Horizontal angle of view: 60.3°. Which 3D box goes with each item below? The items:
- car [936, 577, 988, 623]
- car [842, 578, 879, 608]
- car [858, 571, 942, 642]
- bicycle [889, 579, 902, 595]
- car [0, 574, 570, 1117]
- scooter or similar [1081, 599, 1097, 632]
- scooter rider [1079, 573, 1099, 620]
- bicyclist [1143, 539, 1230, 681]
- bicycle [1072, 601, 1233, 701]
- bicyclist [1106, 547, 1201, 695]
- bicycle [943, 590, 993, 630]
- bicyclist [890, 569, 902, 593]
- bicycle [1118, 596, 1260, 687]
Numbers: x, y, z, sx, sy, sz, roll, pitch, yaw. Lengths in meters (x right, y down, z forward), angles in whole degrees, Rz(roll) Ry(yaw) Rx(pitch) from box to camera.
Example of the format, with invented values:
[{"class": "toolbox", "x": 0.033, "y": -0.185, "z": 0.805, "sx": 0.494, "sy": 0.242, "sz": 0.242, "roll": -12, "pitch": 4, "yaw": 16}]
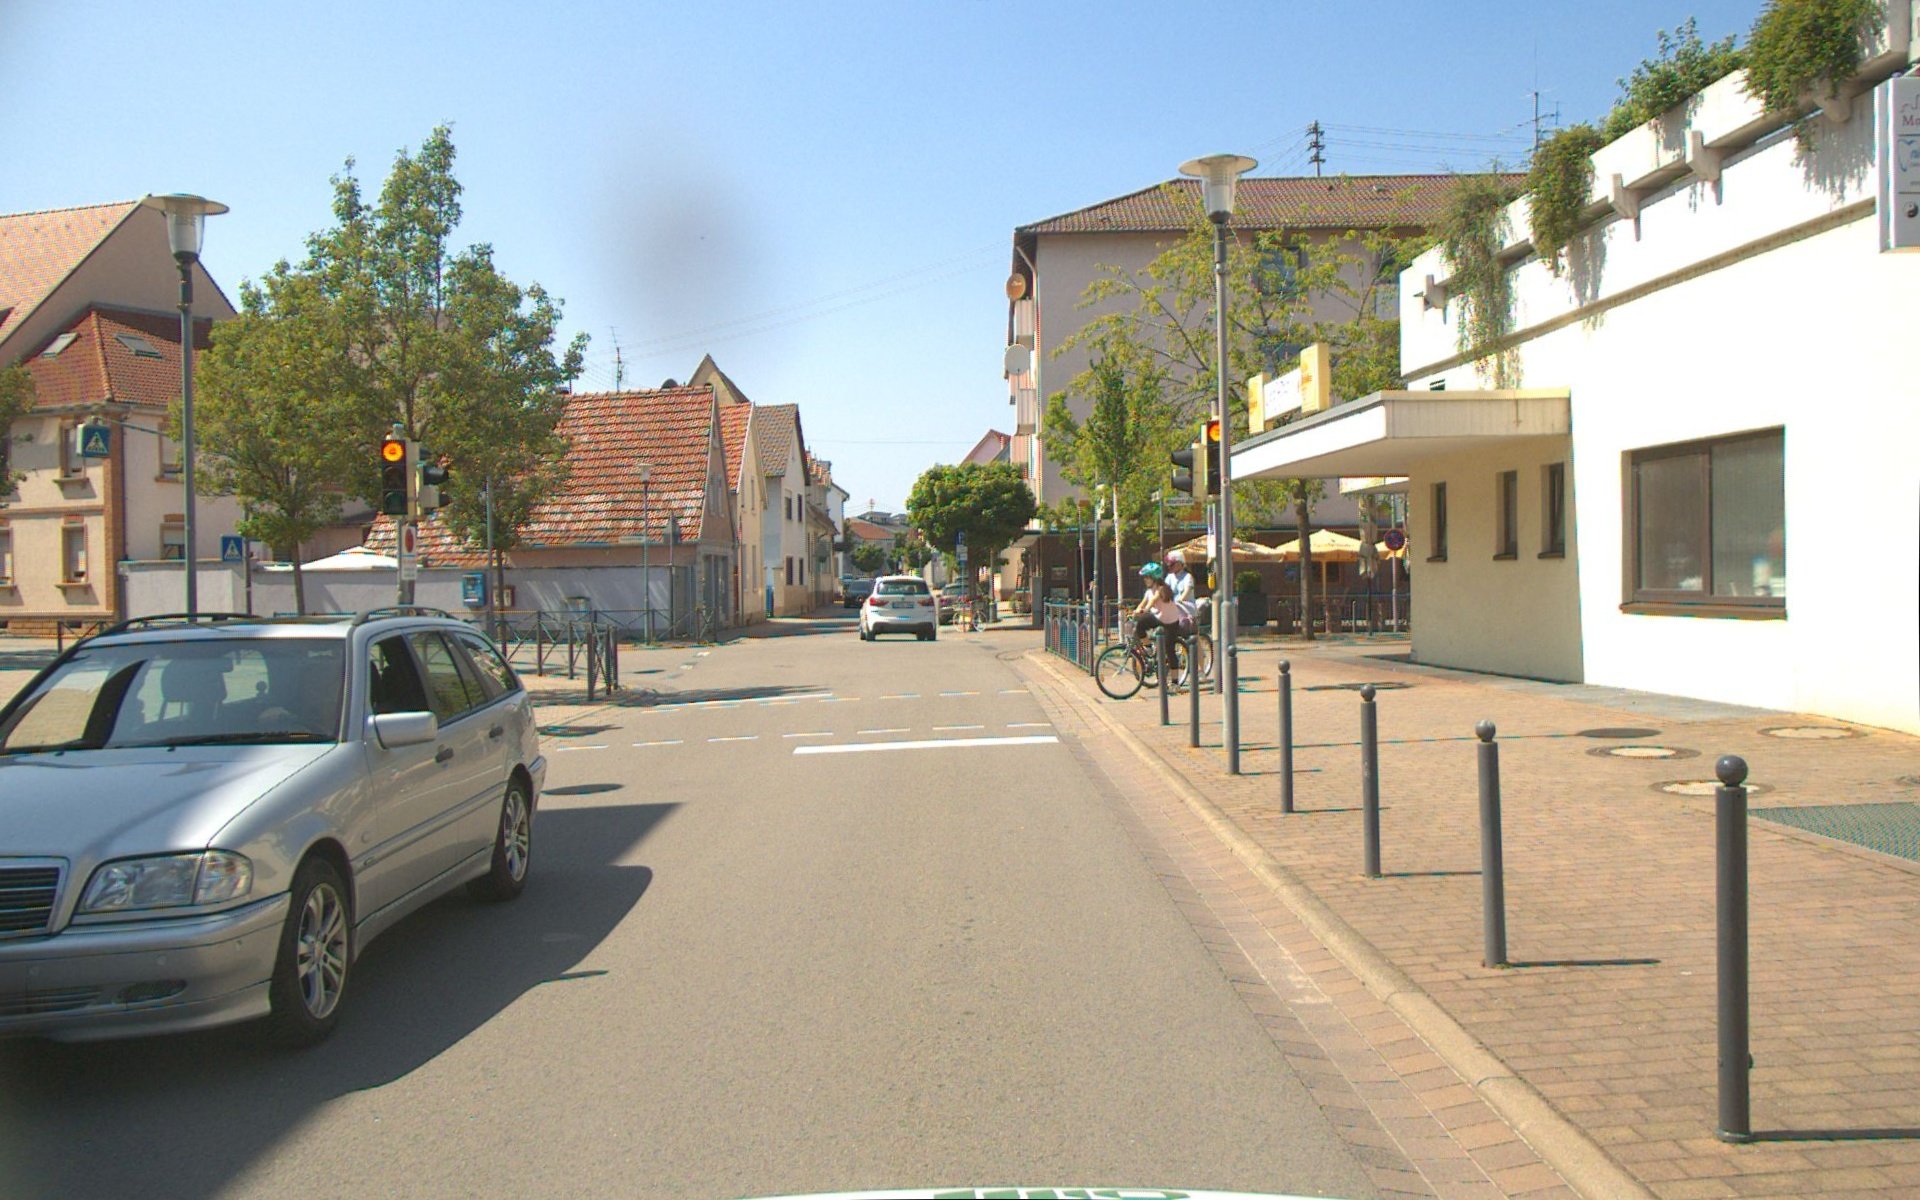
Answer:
[{"class": "car", "x": 0.108, "y": -0.017, "z": 59.517, "sx": 1.767, "sy": 1.527, "sz": 4.001, "roll": -1, "pitch": 1, "yaw": 1}, {"class": "car", "x": -5.407, "y": -0.389, "z": 90.166, "sx": 1.678, "sy": 1.543, "sz": 3.787, "roll": -1, "pitch": 1, "yaw": 1}, {"class": "car", "x": -1.593, "y": 0.146, "z": 42.397, "sx": 1.799, "sy": 1.680, "sz": 3.994, "roll": -2, "pitch": 0, "yaw": -7}, {"class": "bicycle", "x": -4.143, "y": -0.821, "z": 106.744, "sx": 0.650, "sy": 1.024, "sz": 1.898, "roll": -2, "pitch": 1, "yaw": 2}, {"class": "car", "x": -3.031, "y": 0.728, "z": 6.842, "sx": 1.843, "sy": 1.489, "sz": 4.434, "roll": -3, "pitch": 0, "yaw": -2}, {"class": "scooter or similar", "x": 3.598, "y": 0.432, "z": 46.135, "sx": 0.371, "sy": 0.889, "sz": 0.891, "roll": -1, "pitch": 0, "yaw": 9}, {"class": "scooter rider", "x": 3.602, "y": -0.093, "z": 46.182, "sx": 0.505, "sy": 1.308, "sz": 0.418, "roll": -1, "pitch": 0, "yaw": 8}, {"class": "bicyclist", "x": 2.801, "y": 0.116, "z": 20.447, "sx": 0.755, "sy": 1.693, "sz": 0.660, "roll": -4, "pitch": 1, "yaw": -43}, {"class": "bicycle", "x": 2.211, "y": 0.562, "z": 18.875, "sx": 1.878, "sy": 0.974, "sz": 0.666, "roll": -4, "pitch": 2, "yaw": -39}, {"class": "bicyclist", "x": 2.209, "y": 0.233, "z": 18.884, "sx": 0.754, "sy": 1.609, "sz": 0.661, "roll": -4, "pitch": 2, "yaw": -39}, {"class": "bicycle", "x": 0.247, "y": 0.315, "z": 50.745, "sx": 0.523, "sy": 1.214, "sz": 1.648, "roll": -1, "pitch": 0, "yaw": -43}, {"class": "bicyclist", "x": -4.147, "y": -1.206, "z": 106.840, "sx": 0.659, "sy": 1.508, "sz": 0.771, "roll": -1, "pitch": 0, "yaw": 2}, {"class": "bicycle", "x": 2.847, "y": 0.497, "z": 20.471, "sx": 1.881, "sy": 0.974, "sz": 0.665, "roll": -4, "pitch": 1, "yaw": -43}]
